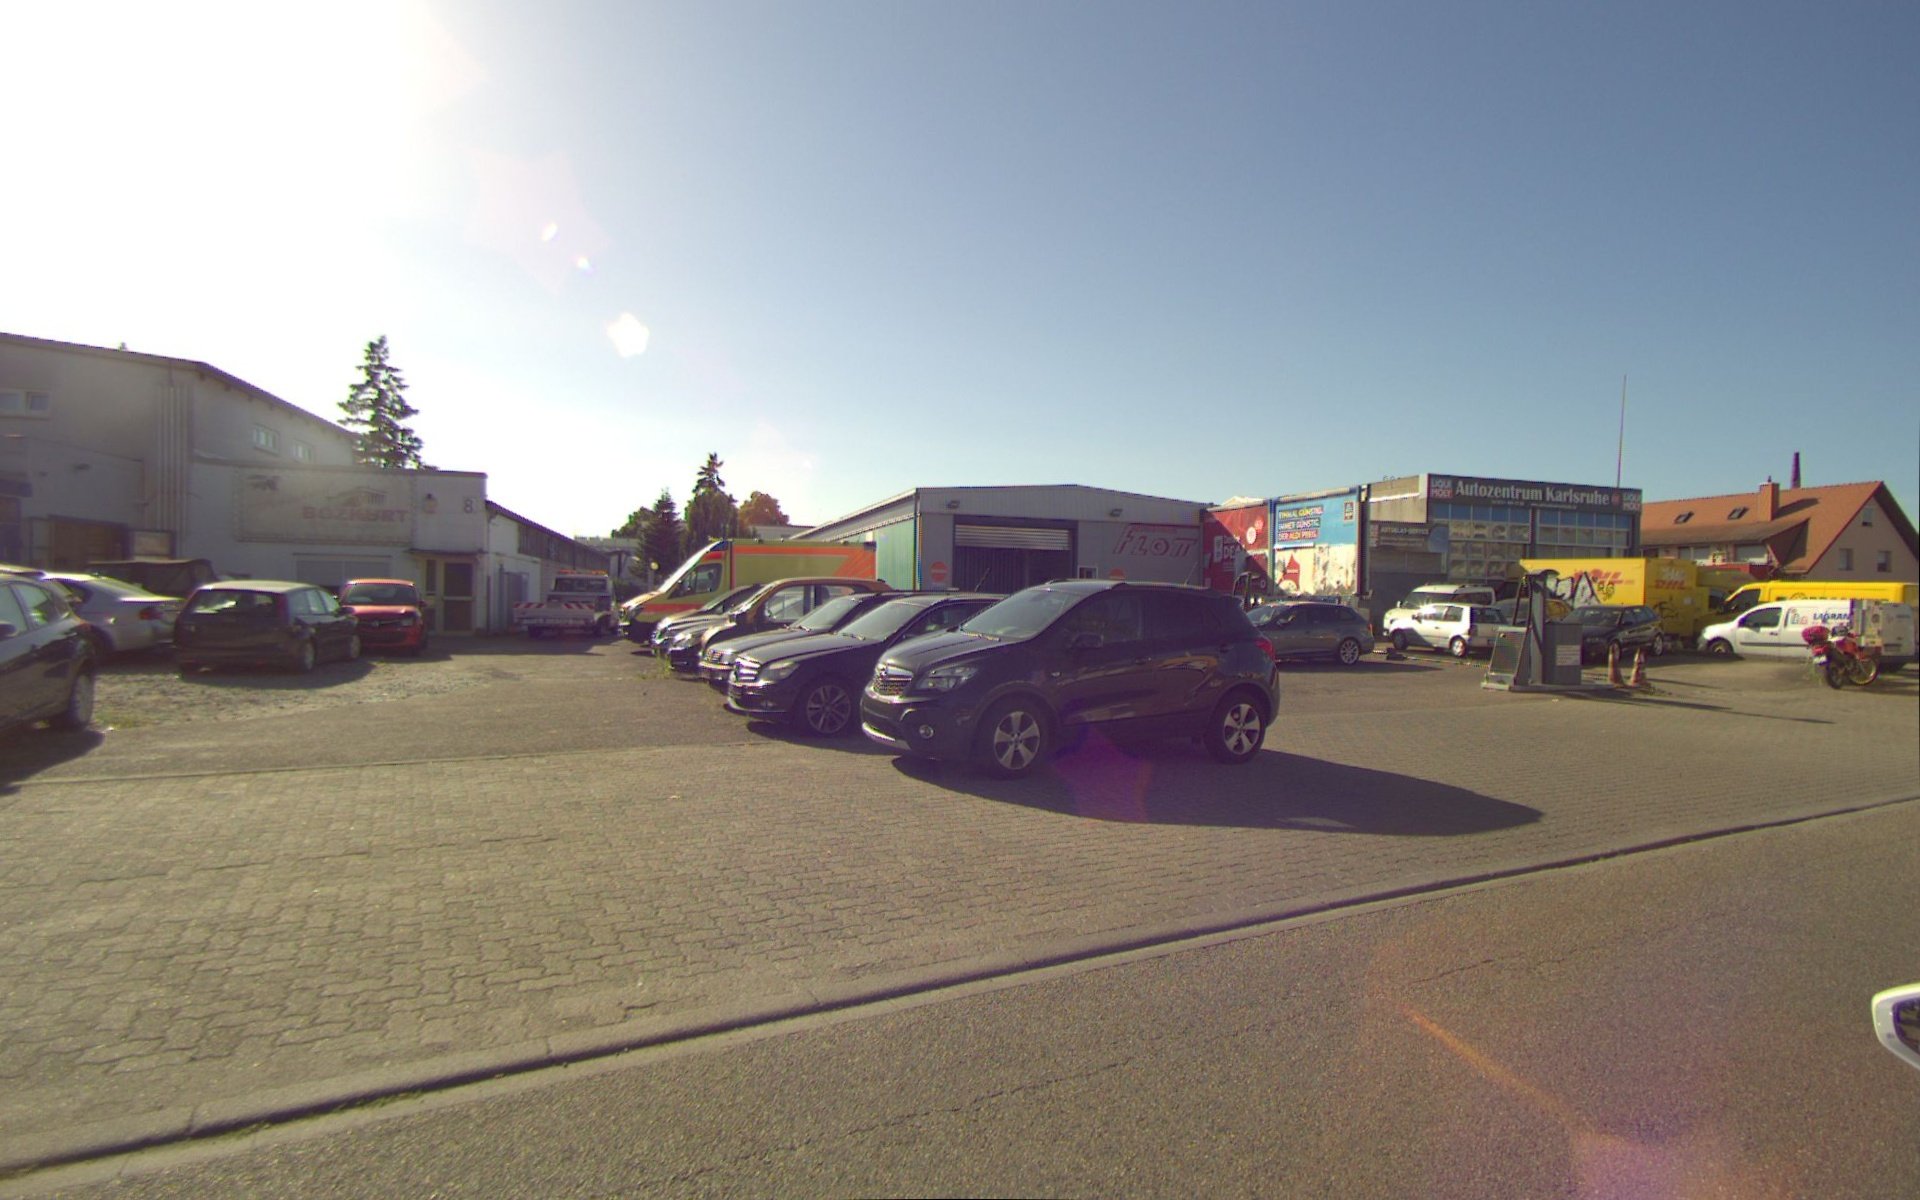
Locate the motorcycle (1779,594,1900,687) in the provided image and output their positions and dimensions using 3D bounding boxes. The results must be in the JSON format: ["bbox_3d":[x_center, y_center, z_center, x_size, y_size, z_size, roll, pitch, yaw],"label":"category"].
[{"bbox_3d":[19.142,0.852,21.846,3.000,1.899,0.778,0,4,-26],"label":"motorcycle"}]

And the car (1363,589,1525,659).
[{"bbox_3d":[13.526,0.630,28.344,1.967,1.840,3.986,1,0,-16],"label":"car"}]

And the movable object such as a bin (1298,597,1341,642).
[{"bbox_3d":[11.911,0.650,33.262,1.280,1.471,0.537,1,0,-19],"label":"movable object such as a bin"}]

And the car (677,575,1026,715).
[{"bbox_3d":[-1.403,0.617,13.469,4.228,1.611,1.852,3,-1,-31],"label":"car"}]

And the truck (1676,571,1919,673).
[{"bbox_3d":[24.538,0.526,29.166,2.188,2.602,5.916,1,2,-18],"label":"truck"}]

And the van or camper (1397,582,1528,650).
[{"bbox_3d":[16.563,0.524,33.109,3.950,2.041,1.852,1,2,-28],"label":"van or camper"}]

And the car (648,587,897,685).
[{"bbox_3d":[-3.309,0.565,17.616,4.099,1.566,1.775,0,1,-19],"label":"car"}]

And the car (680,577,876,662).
[{"bbox_3d":[-4.058,0.384,22.312,4.099,1.772,1.775,0,1,-19],"label":"car"}]

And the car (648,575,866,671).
[{"bbox_3d":[-4.070,0.406,20.053,4.099,1.772,1.775,0,1,-19],"label":"car"}]

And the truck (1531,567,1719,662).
[{"bbox_3d":[22.938,0.469,34.967,2.138,3.012,5.333,1,0,-16],"label":"truck"}]

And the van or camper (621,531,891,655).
[{"bbox_3d":[-4.953,-0.107,24.390,6.173,2.751,2.162,1,0,-20],"label":"van or camper"}]

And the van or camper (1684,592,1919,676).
[{"bbox_3d":[22.434,0.834,26.835,2.219,2.040,4.533,1,0,-23],"label":"van or camper"}]

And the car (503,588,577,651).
[{"bbox_3d":[-10.509,0.447,25.305,1.565,1.441,3.598,1,0,-21],"label":"car"}]

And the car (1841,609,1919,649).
[{"bbox_3d":[42.282,1.315,45.474,3.978,1.683,1.694,1,0,-16],"label":"car"}]

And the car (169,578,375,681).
[{"bbox_3d":[-11.396,0.432,16.956,1.642,1.469,3.986,3,0,-16],"label":"car"}]

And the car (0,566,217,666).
[{"bbox_3d":[-14.834,0.237,16.422,3.935,1.537,1.664,1,0,-16],"label":"car"}]

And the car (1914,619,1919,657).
[{"bbox_3d":[42.928,1.641,42.697,3.978,1.599,1.694,1,0,-16],"label":"car"}]

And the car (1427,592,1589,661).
[{"bbox_3d":[16.265,0.785,29.894,3.936,1.840,1.992,2,2,-17],"label":"car"}]

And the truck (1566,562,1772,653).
[{"bbox_3d":[25.425,0.247,36.405,2.138,3.012,6.090,1,0,-16],"label":"truck"}]

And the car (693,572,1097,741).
[{"bbox_3d":[-0.688,0.567,11.471,4.227,1.611,1.852,1,0,-31],"label":"car"}]

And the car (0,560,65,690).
[{"bbox_3d":[-13.795,0.260,12.241,3.944,1.585,1.659,1,0,-24],"label":"car"}]

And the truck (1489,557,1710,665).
[{"bbox_3d":[20.508,0.252,32.611,2.483,3.161,5.663,1,2,-18],"label":"truck"}]

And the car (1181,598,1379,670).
[{"bbox_3d":[7.518,0.749,23.648,4.230,1.566,1.775,0,1,-19],"label":"car"}]

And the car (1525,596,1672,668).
[{"bbox_3d":[17.236,0.784,27.075,4.168,1.584,1.853,-3,3,-34],"label":"car"}]

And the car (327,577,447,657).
[{"bbox_3d":[-12.319,0.331,21.831,1.645,1.573,3.980,1,0,-21],"label":"car"}]

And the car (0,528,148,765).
[{"bbox_3d":[-8.270,0.322,7.960,1.741,1.751,4.238,1,0,-23],"label":"car"}]

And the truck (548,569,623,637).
[{"bbox_3d":[-12.631,0.084,34.184,1.996,2.091,5.855,1,0,-17],"label":"truck"}]

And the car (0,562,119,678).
[{"bbox_3d":[-14.495,0.242,14.082,3.795,1.585,1.659,1,0,-24],"label":"car"}]

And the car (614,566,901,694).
[{"bbox_3d":[-3.103,0.402,15.367,4.099,1.772,1.775,0,1,-19],"label":"car"}]

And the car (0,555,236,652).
[{"bbox_3d":[-15.989,0.062,18.490,3.935,1.676,1.664,1,0,-16],"label":"car"}]

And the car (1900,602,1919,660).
[{"bbox_3d":[34.944,1.113,33.942,1.841,2.040,4.241,1,0,-21],"label":"car"}]

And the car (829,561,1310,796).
[{"bbox_3d":[1.094,0.614,9.535,4.227,1.737,1.852,1,3,-31],"label":"car"}]
